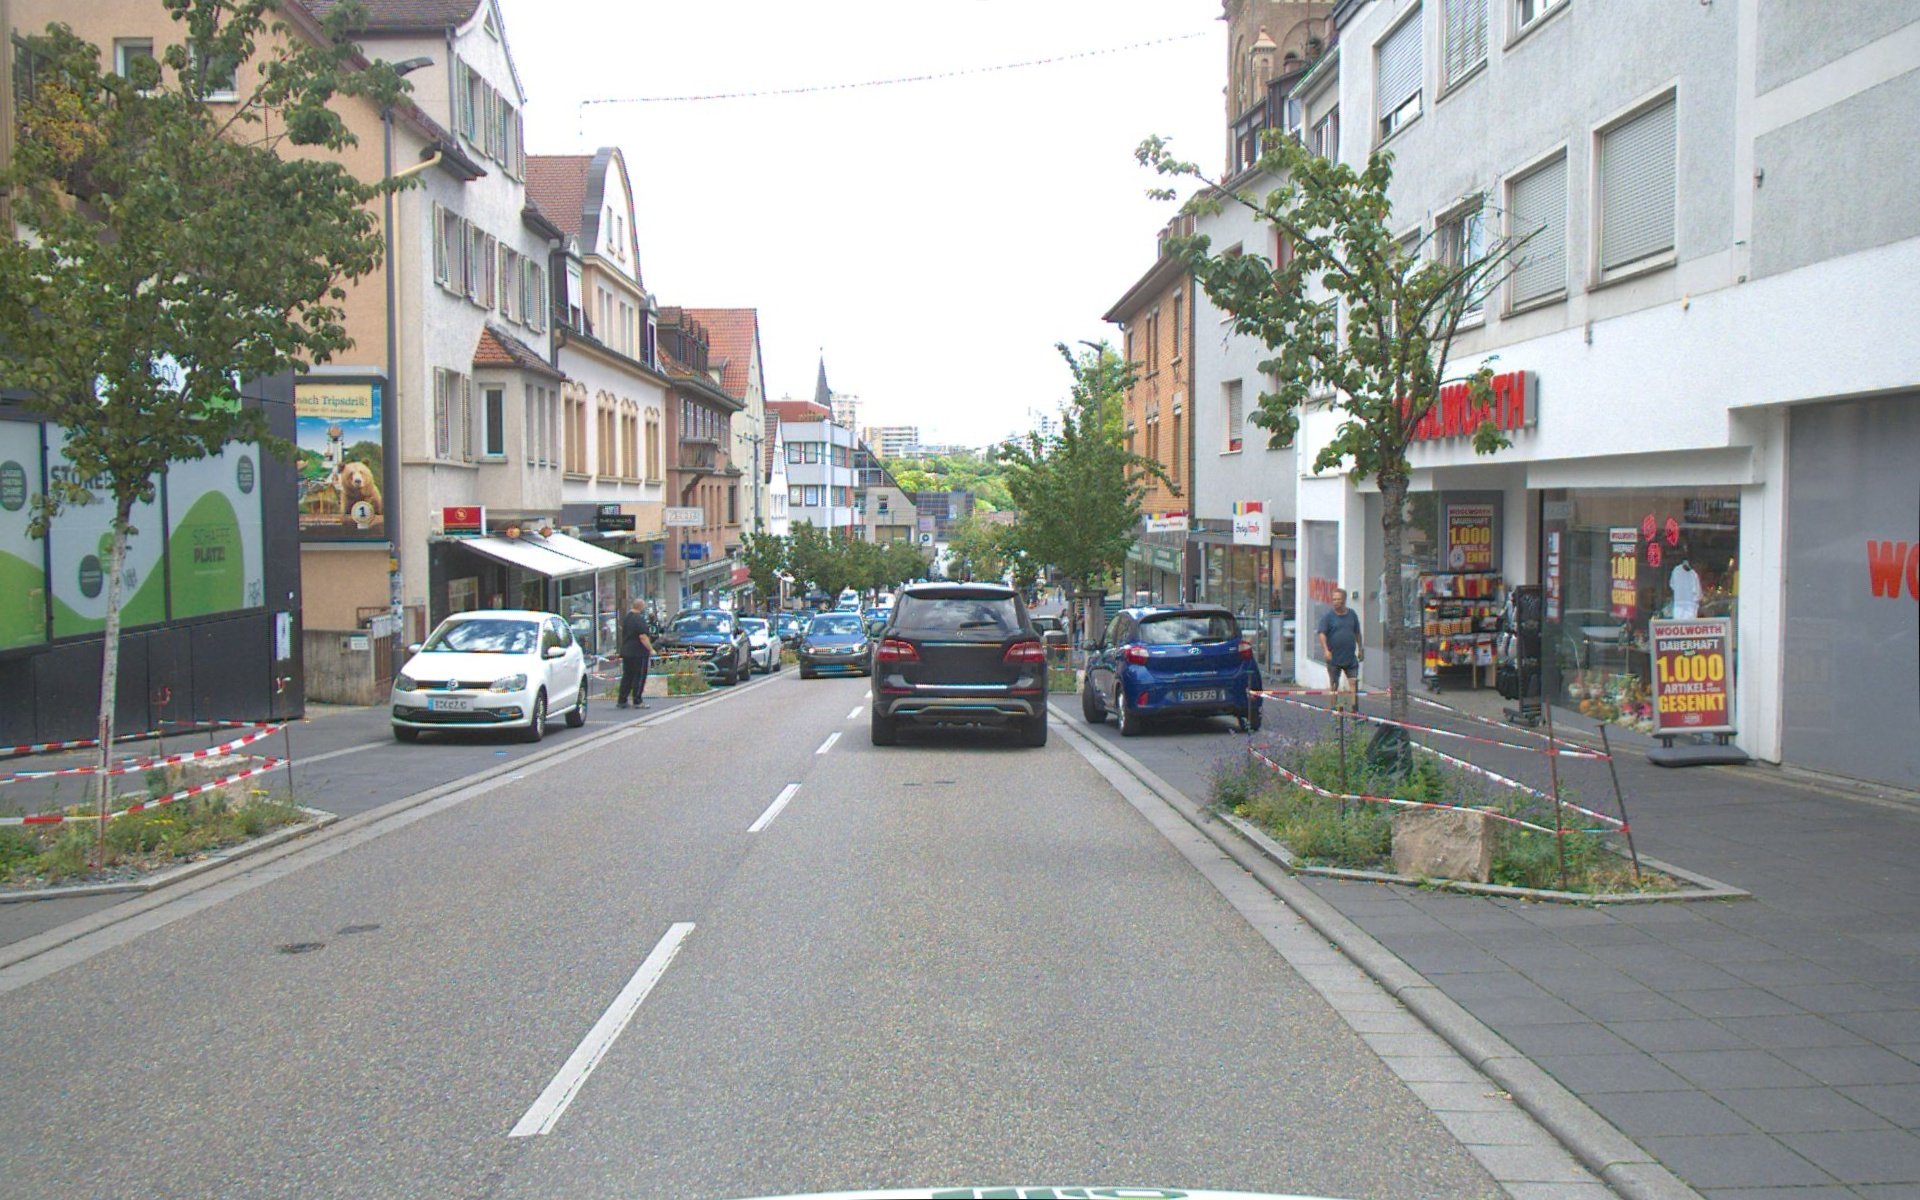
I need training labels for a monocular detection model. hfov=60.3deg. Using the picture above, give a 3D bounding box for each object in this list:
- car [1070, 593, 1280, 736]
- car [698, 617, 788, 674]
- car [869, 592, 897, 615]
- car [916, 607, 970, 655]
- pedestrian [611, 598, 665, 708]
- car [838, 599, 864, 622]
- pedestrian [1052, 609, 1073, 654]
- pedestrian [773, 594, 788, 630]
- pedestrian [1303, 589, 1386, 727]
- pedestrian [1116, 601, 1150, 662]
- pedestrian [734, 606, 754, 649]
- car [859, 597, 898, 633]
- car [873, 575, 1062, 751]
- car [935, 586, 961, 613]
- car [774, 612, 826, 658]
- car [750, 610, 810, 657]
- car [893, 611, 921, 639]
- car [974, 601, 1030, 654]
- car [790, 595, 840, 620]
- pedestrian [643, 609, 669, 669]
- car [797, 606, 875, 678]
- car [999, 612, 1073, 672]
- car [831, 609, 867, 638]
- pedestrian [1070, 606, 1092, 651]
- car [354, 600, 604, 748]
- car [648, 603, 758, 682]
[{"bbox_3d":[2.559,0.769,20.562,1.715,1.524,3.795,-3,-1,-6],"label":"car"},{"bbox_3d":[-5.859,1.204,45.057,1.887,1.455,4.261,1,0,0],"label":"car"},{"bbox_3d":[-5.754,0.260,123.456,1.887,1.657,4.261,2,0,-1],"label":"car"},{"bbox_3d":[-0.645,1.129,62.236,1.887,1.657,4.261,2,0,-1],"label":"car"},{"bbox_3d":[-5.070,0.826,26.072,0.722,1.701,0.862,0,0,-4],"label":"pedestrian"},{"bbox_3d":[-8.298,0.810,126.375,1.888,1.657,4.412,2,0,-3],"label":"car"},{"bbox_3d":[3.817,1.173,61.520,0.658,1.661,0.669,-2,-1,-3],"label":"pedestrian"},{"bbox_3d":[-8.672,0.577,80.023,0.628,1.697,0.720,0,-1,-2],"label":"pedestrian"},{"bbox_3d":[4.542,0.666,19.574,0.741,1.588,0.817,-1,0,-4],"label":"pedestrian"},{"bbox_3d":[4.729,0.843,45.246,0.720,1.612,1.000,-3,-1,-2],"label":"pedestrian"},{"bbox_3d":[-8.714,1.102,66.774,0.712,1.697,0.720,0,-1,-2],"label":"pedestrian"},{"bbox_3d":[-4.142,0.744,84.462,1.952,1.748,4.445,0,0,-2],"label":"car"},{"bbox_3d":[0.052,0.620,18.877,1.904,1.770,4.178,1,1,-1],"label":"car"},{"bbox_3d":[-1.122,-0.074,155.976,2.128,2.405,4.624,-1,0,3],"label":"car"},{"bbox_3d":[-6.358,1.361,66.013,1.889,1.623,4.454,2,0,-4],"label":"car"},{"bbox_3d":[-6.326,1.159,58.516,1.888,1.523,4.259,-1,0,-4],"label":"car"},{"bbox_3d":[-3.390,1.592,105.558,1.729,1.645,4.031,-2,1,-2],"label":"car"},{"bbox_3d":[1.596,1.039,64.840,1.899,1.924,4.705,-2,0,-2],"label":"car"},{"bbox_3d":[-11.734,0.620,133.659,3.909,1.780,1.998,-2,0,-5],"label":"car"},{"bbox_3d":[-8.274,1.059,44.976,0.536,1.603,0.863,-1,0,-2],"label":"pedestrian"},{"bbox_3d":[-3.072,1.031,41.529,1.783,1.646,4.133,-2,-1,-3],"label":"car"},{"bbox_3d":[2.141,1.169,47.316,1.713,1.491,4.073,-4,0,-2],"label":"car"},{"bbox_3d":[-6.630,1.393,99.136,1.887,1.657,4.261,0,0,-1],"label":"car"},{"bbox_3d":[4.516,1.060,61.771,0.658,1.661,0.669,-2,-1,-3],"label":"pedestrian"},{"bbox_3d":[-5.691,0.803,20.138,1.888,1.538,4.260,2,0,-2],"label":"car"},{"bbox_3d":[-5.728,0.925,37.328,1.888,1.650,4.637,1,-1,-2],"label":"car"}]
